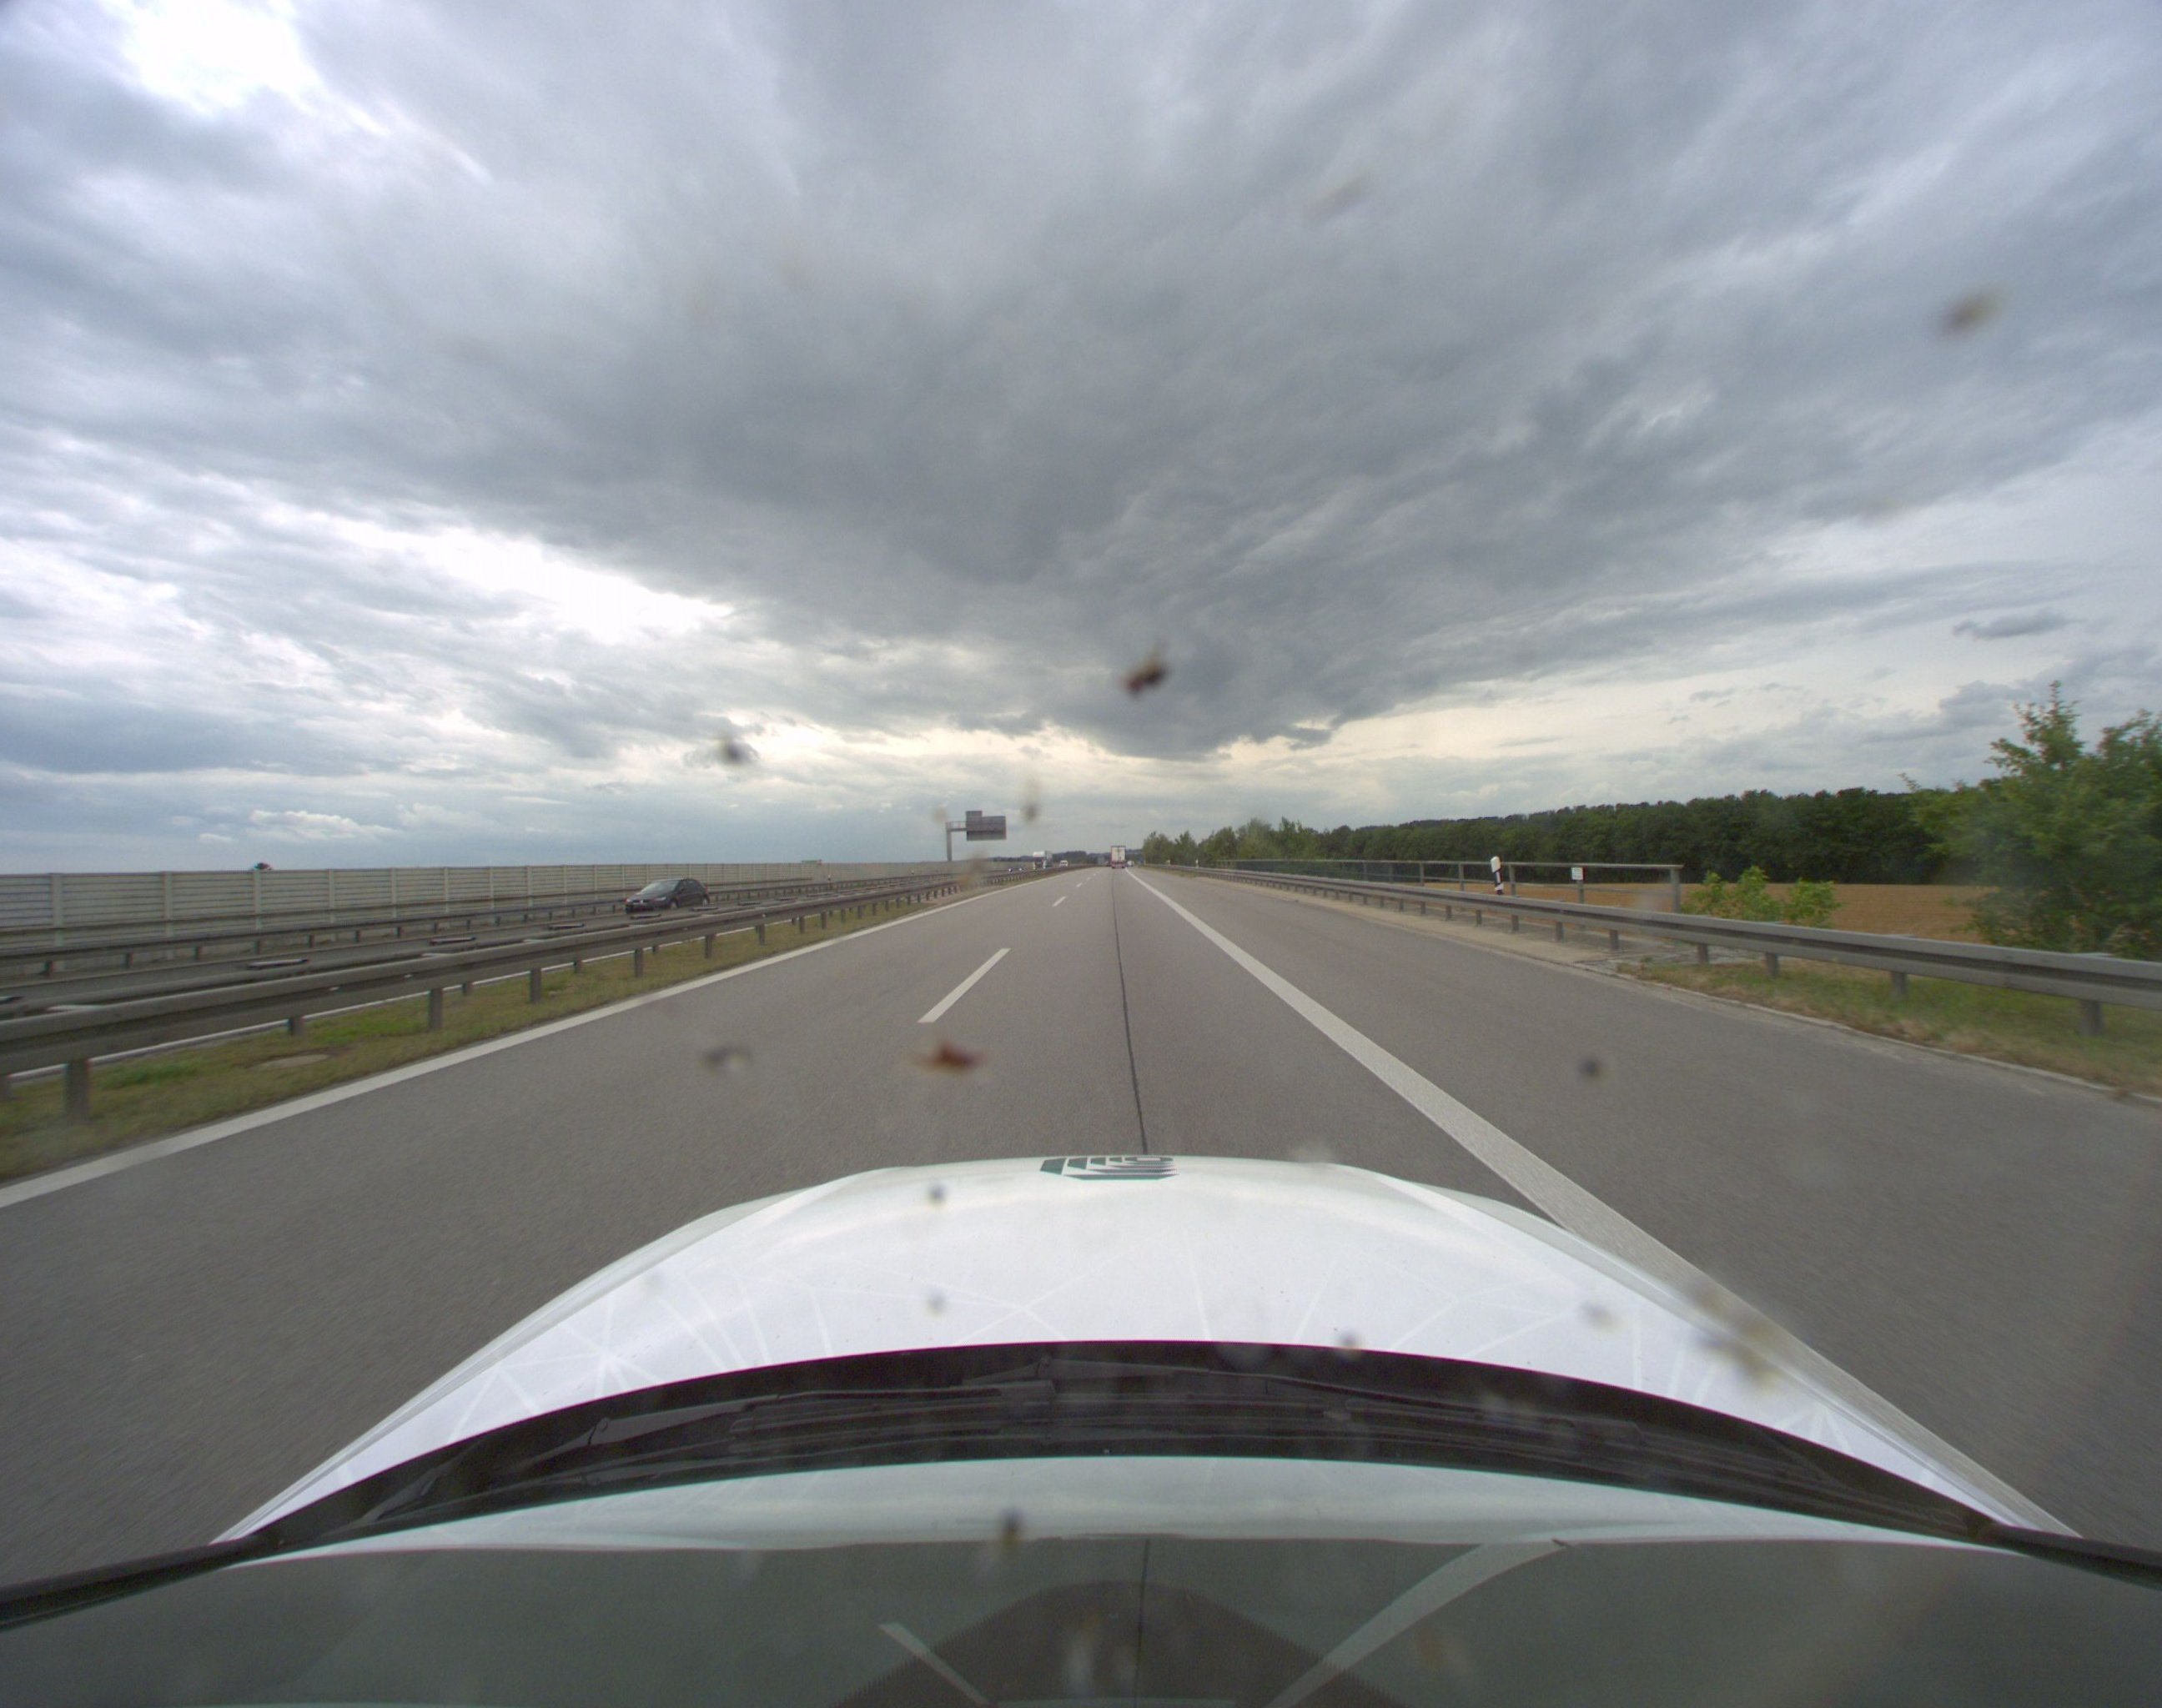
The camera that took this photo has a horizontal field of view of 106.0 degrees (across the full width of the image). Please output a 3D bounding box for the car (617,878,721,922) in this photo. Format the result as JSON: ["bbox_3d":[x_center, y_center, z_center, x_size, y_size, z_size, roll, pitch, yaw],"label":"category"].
[{"bbox_3d":[-16.635,1.813,33.173,1.697,1.494,4.568,-3,0,2],"label":"car"}]

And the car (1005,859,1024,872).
[{"bbox_3d":[-8.630,1.499,105.545,1.789,1.373,4.685,-7,-1,2],"label":"car"}]

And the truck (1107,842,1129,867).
[{"bbox_3d":[6.974,0.179,153.244,3.658,4.412,16.350,-2,-1,3],"label":"truck"}]

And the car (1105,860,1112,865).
[{"bbox_3d":[8.661,2.673,252.929,1.987,1.420,3.999,-1,0,0],"label":"car"}]

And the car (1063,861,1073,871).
[{"bbox_3d":[-2.692,2.412,166.801,1.807,1.847,4.183,3,-1,2],"label":"car"}]

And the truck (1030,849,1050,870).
[{"bbox_3d":[-8.108,1.169,163.408,3.097,4.014,7.327,-3,-1,2],"label":"truck"}]
